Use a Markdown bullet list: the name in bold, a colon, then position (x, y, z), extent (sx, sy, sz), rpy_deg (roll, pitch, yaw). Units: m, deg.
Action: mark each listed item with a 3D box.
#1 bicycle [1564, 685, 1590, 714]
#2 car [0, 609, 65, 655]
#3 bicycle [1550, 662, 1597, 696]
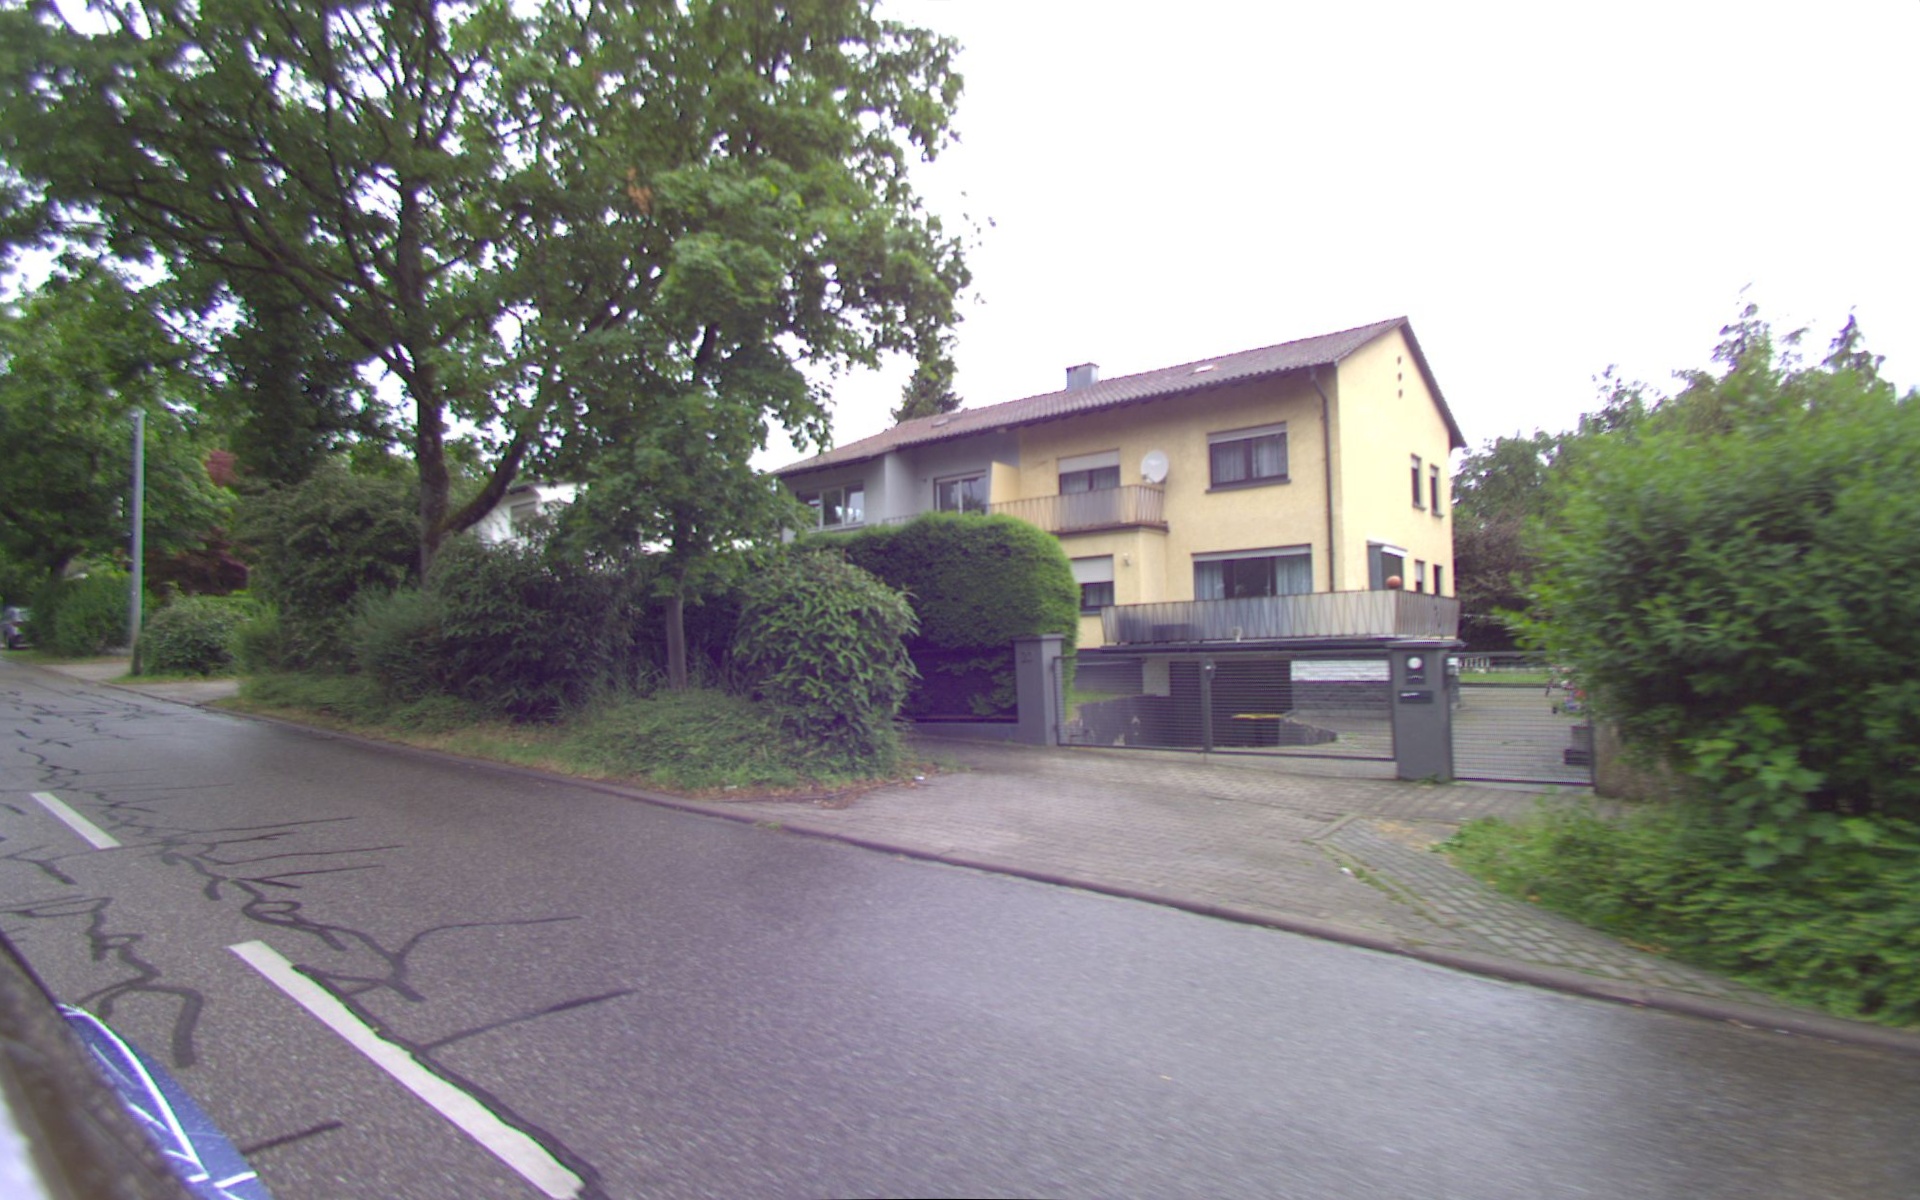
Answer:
- **bicycle**: position (11.927, 1.915, 19.559), extent (0.294, 0.521, 0.799), rpy_deg (-2, -3, 40)
- **car**: position (-35.296, 1.176, 38.027), extent (4.277, 1.553, 1.648), rpy_deg (0, 1, 37)
- **bicycle**: position (15.991, 2.064, 26.399), extent (0.968, 0.877, 0.366), rpy_deg (0, -2, 1)
